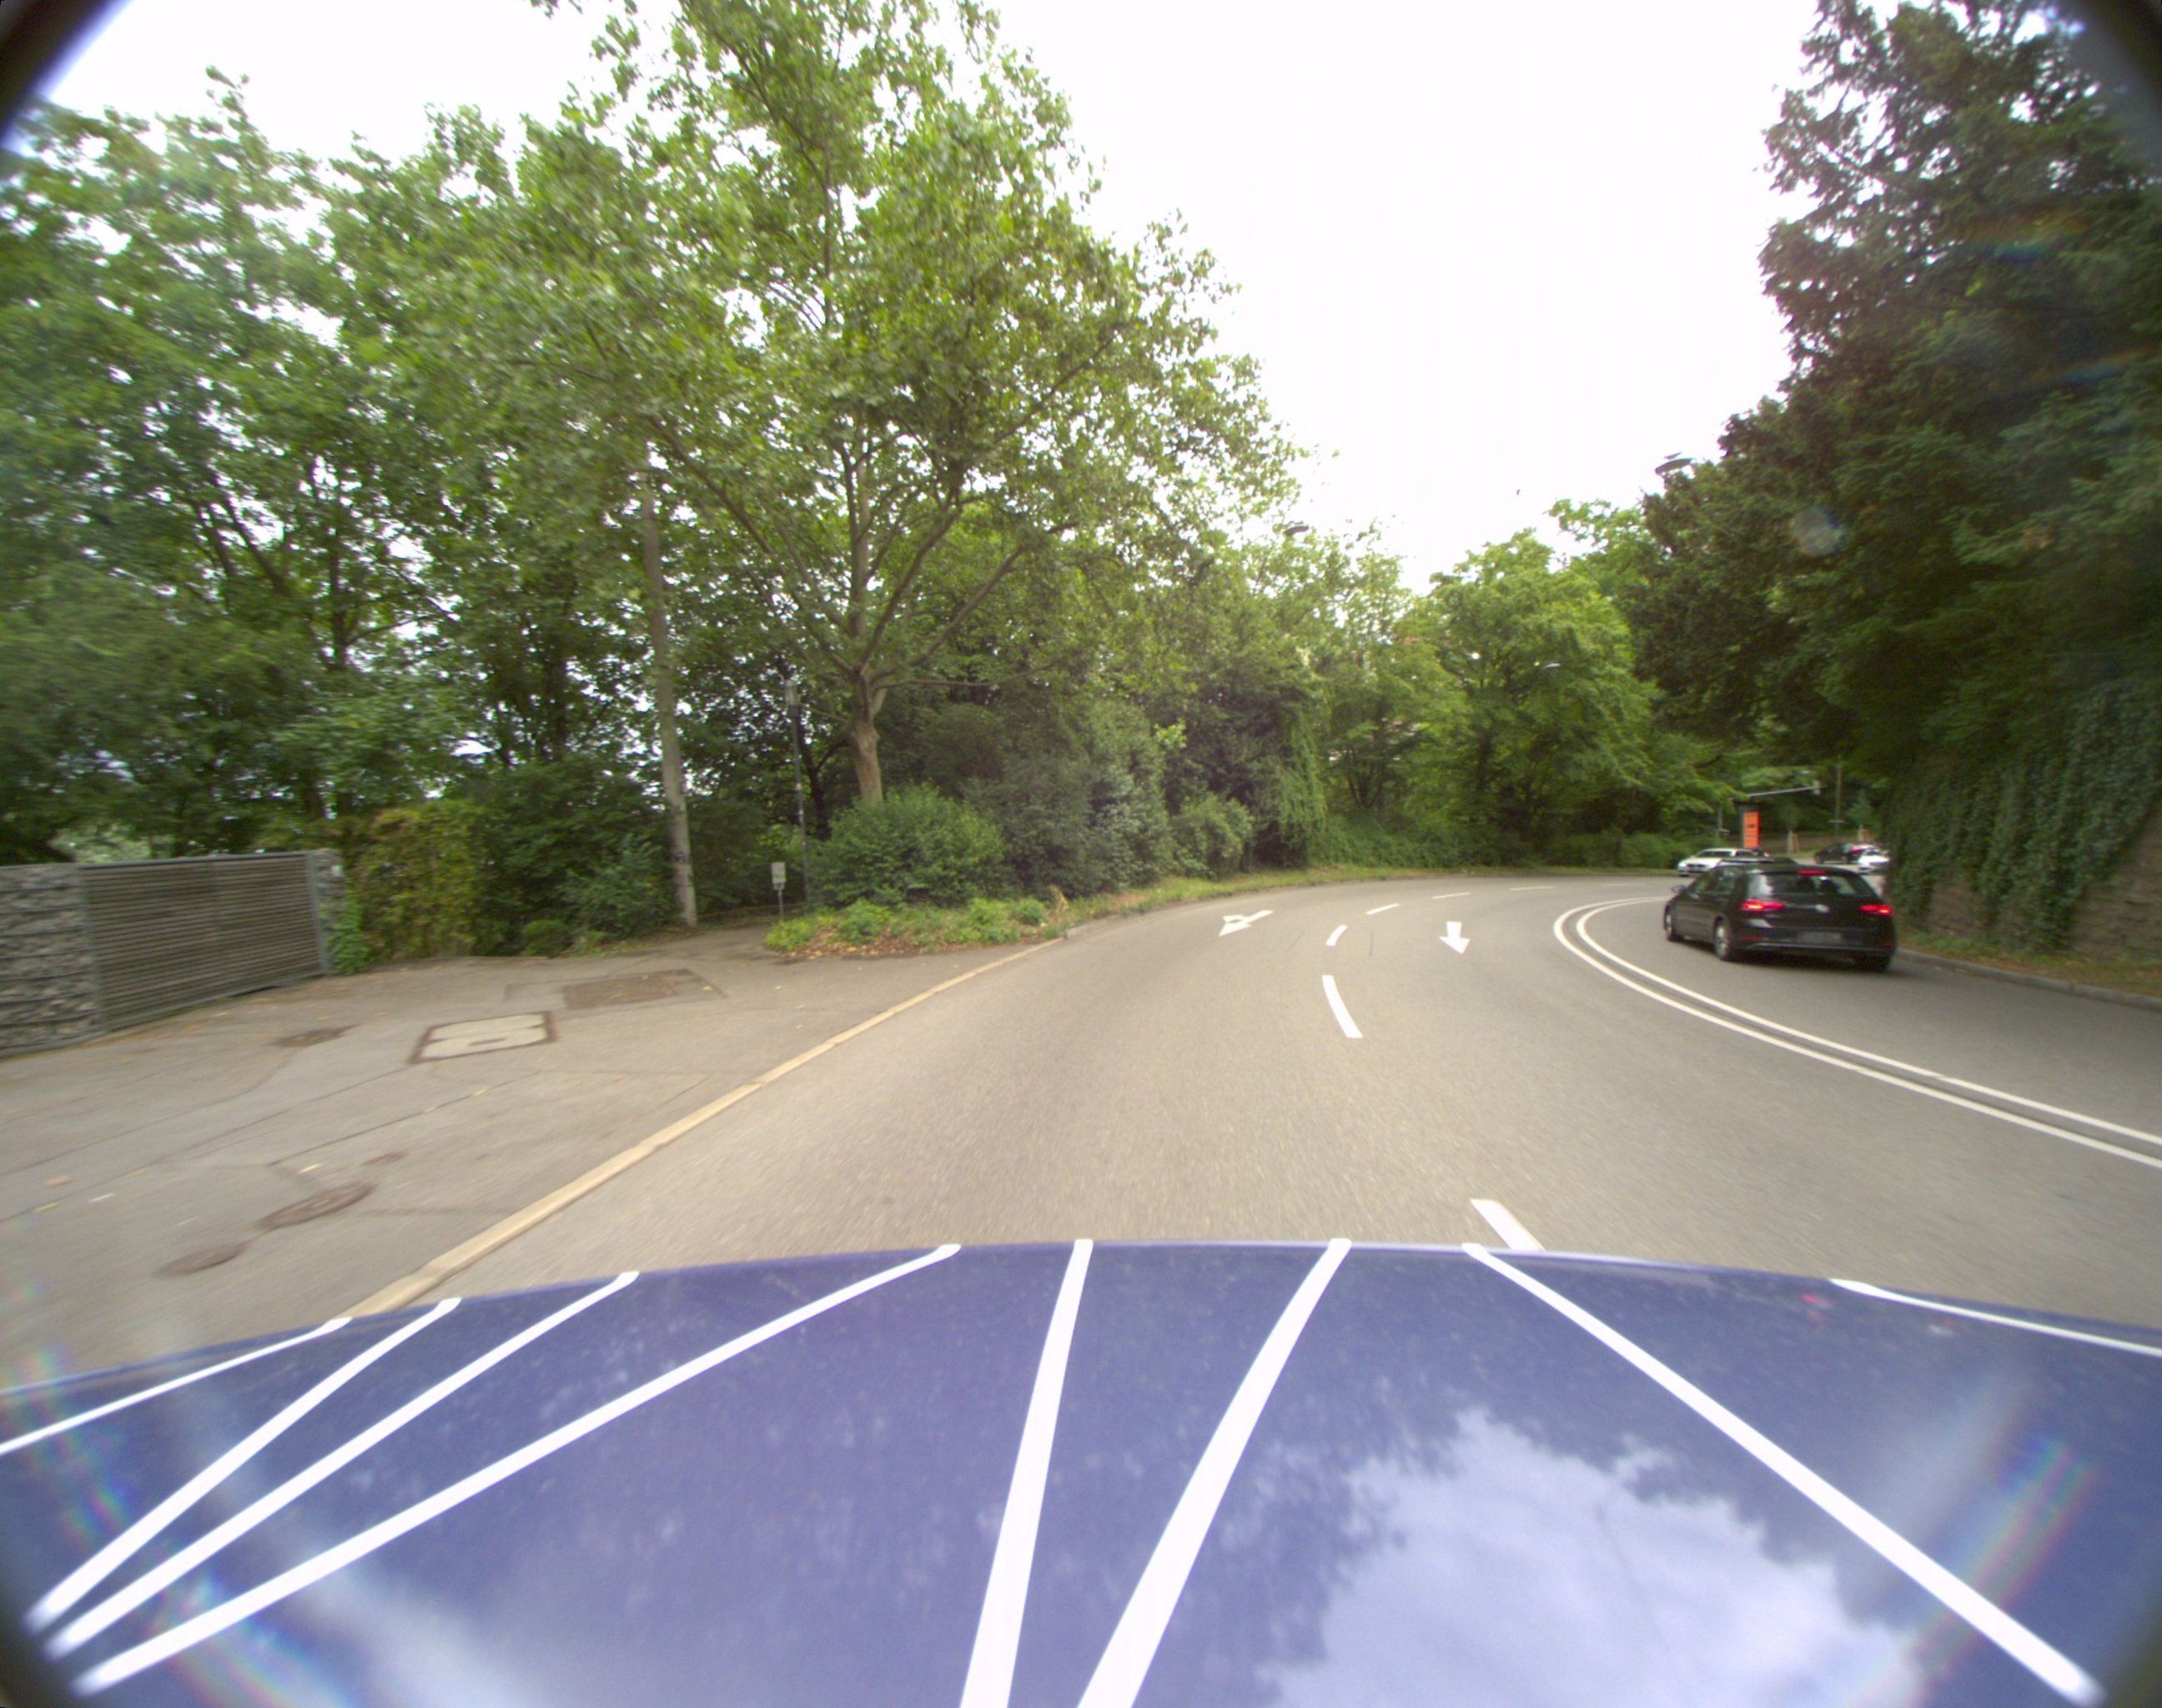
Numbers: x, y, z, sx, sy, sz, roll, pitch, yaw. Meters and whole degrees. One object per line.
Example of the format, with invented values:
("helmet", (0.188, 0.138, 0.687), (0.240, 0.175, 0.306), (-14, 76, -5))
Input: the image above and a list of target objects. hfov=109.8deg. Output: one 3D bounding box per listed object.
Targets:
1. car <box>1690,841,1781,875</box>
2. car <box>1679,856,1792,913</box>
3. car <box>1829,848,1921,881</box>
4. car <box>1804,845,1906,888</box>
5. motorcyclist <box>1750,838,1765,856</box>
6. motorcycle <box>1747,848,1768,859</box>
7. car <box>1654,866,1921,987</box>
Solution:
("car", (32.780, 0.164, 38.037), (4.533, 1.543, 1.912), (-1, 4, -29))
("car", (18.741, 0.801, 21.697), (4.304, 1.432, 1.658), (0, 2, -39))
("car", (42.350, 0.504, 40.670), (1.912, 1.470, 4.533), (3, 3, 27))
("car", (32.256, 0.493, 31.656), (4.394, 1.644, 1.770), (0, 3, -28))
("motorcyclist", (58.772, -0.585, 66.019), (0.747, 1.521, 1.097), (1, 2, 30))
("motorcycle", (58.808, -0.086, 66.076), (0.809, 0.884, 2.433), (1, 2, 30))
("car", (10.523, 0.952, 11.736), (1.803, 1.434, 4.007), (1, 0, 24))
